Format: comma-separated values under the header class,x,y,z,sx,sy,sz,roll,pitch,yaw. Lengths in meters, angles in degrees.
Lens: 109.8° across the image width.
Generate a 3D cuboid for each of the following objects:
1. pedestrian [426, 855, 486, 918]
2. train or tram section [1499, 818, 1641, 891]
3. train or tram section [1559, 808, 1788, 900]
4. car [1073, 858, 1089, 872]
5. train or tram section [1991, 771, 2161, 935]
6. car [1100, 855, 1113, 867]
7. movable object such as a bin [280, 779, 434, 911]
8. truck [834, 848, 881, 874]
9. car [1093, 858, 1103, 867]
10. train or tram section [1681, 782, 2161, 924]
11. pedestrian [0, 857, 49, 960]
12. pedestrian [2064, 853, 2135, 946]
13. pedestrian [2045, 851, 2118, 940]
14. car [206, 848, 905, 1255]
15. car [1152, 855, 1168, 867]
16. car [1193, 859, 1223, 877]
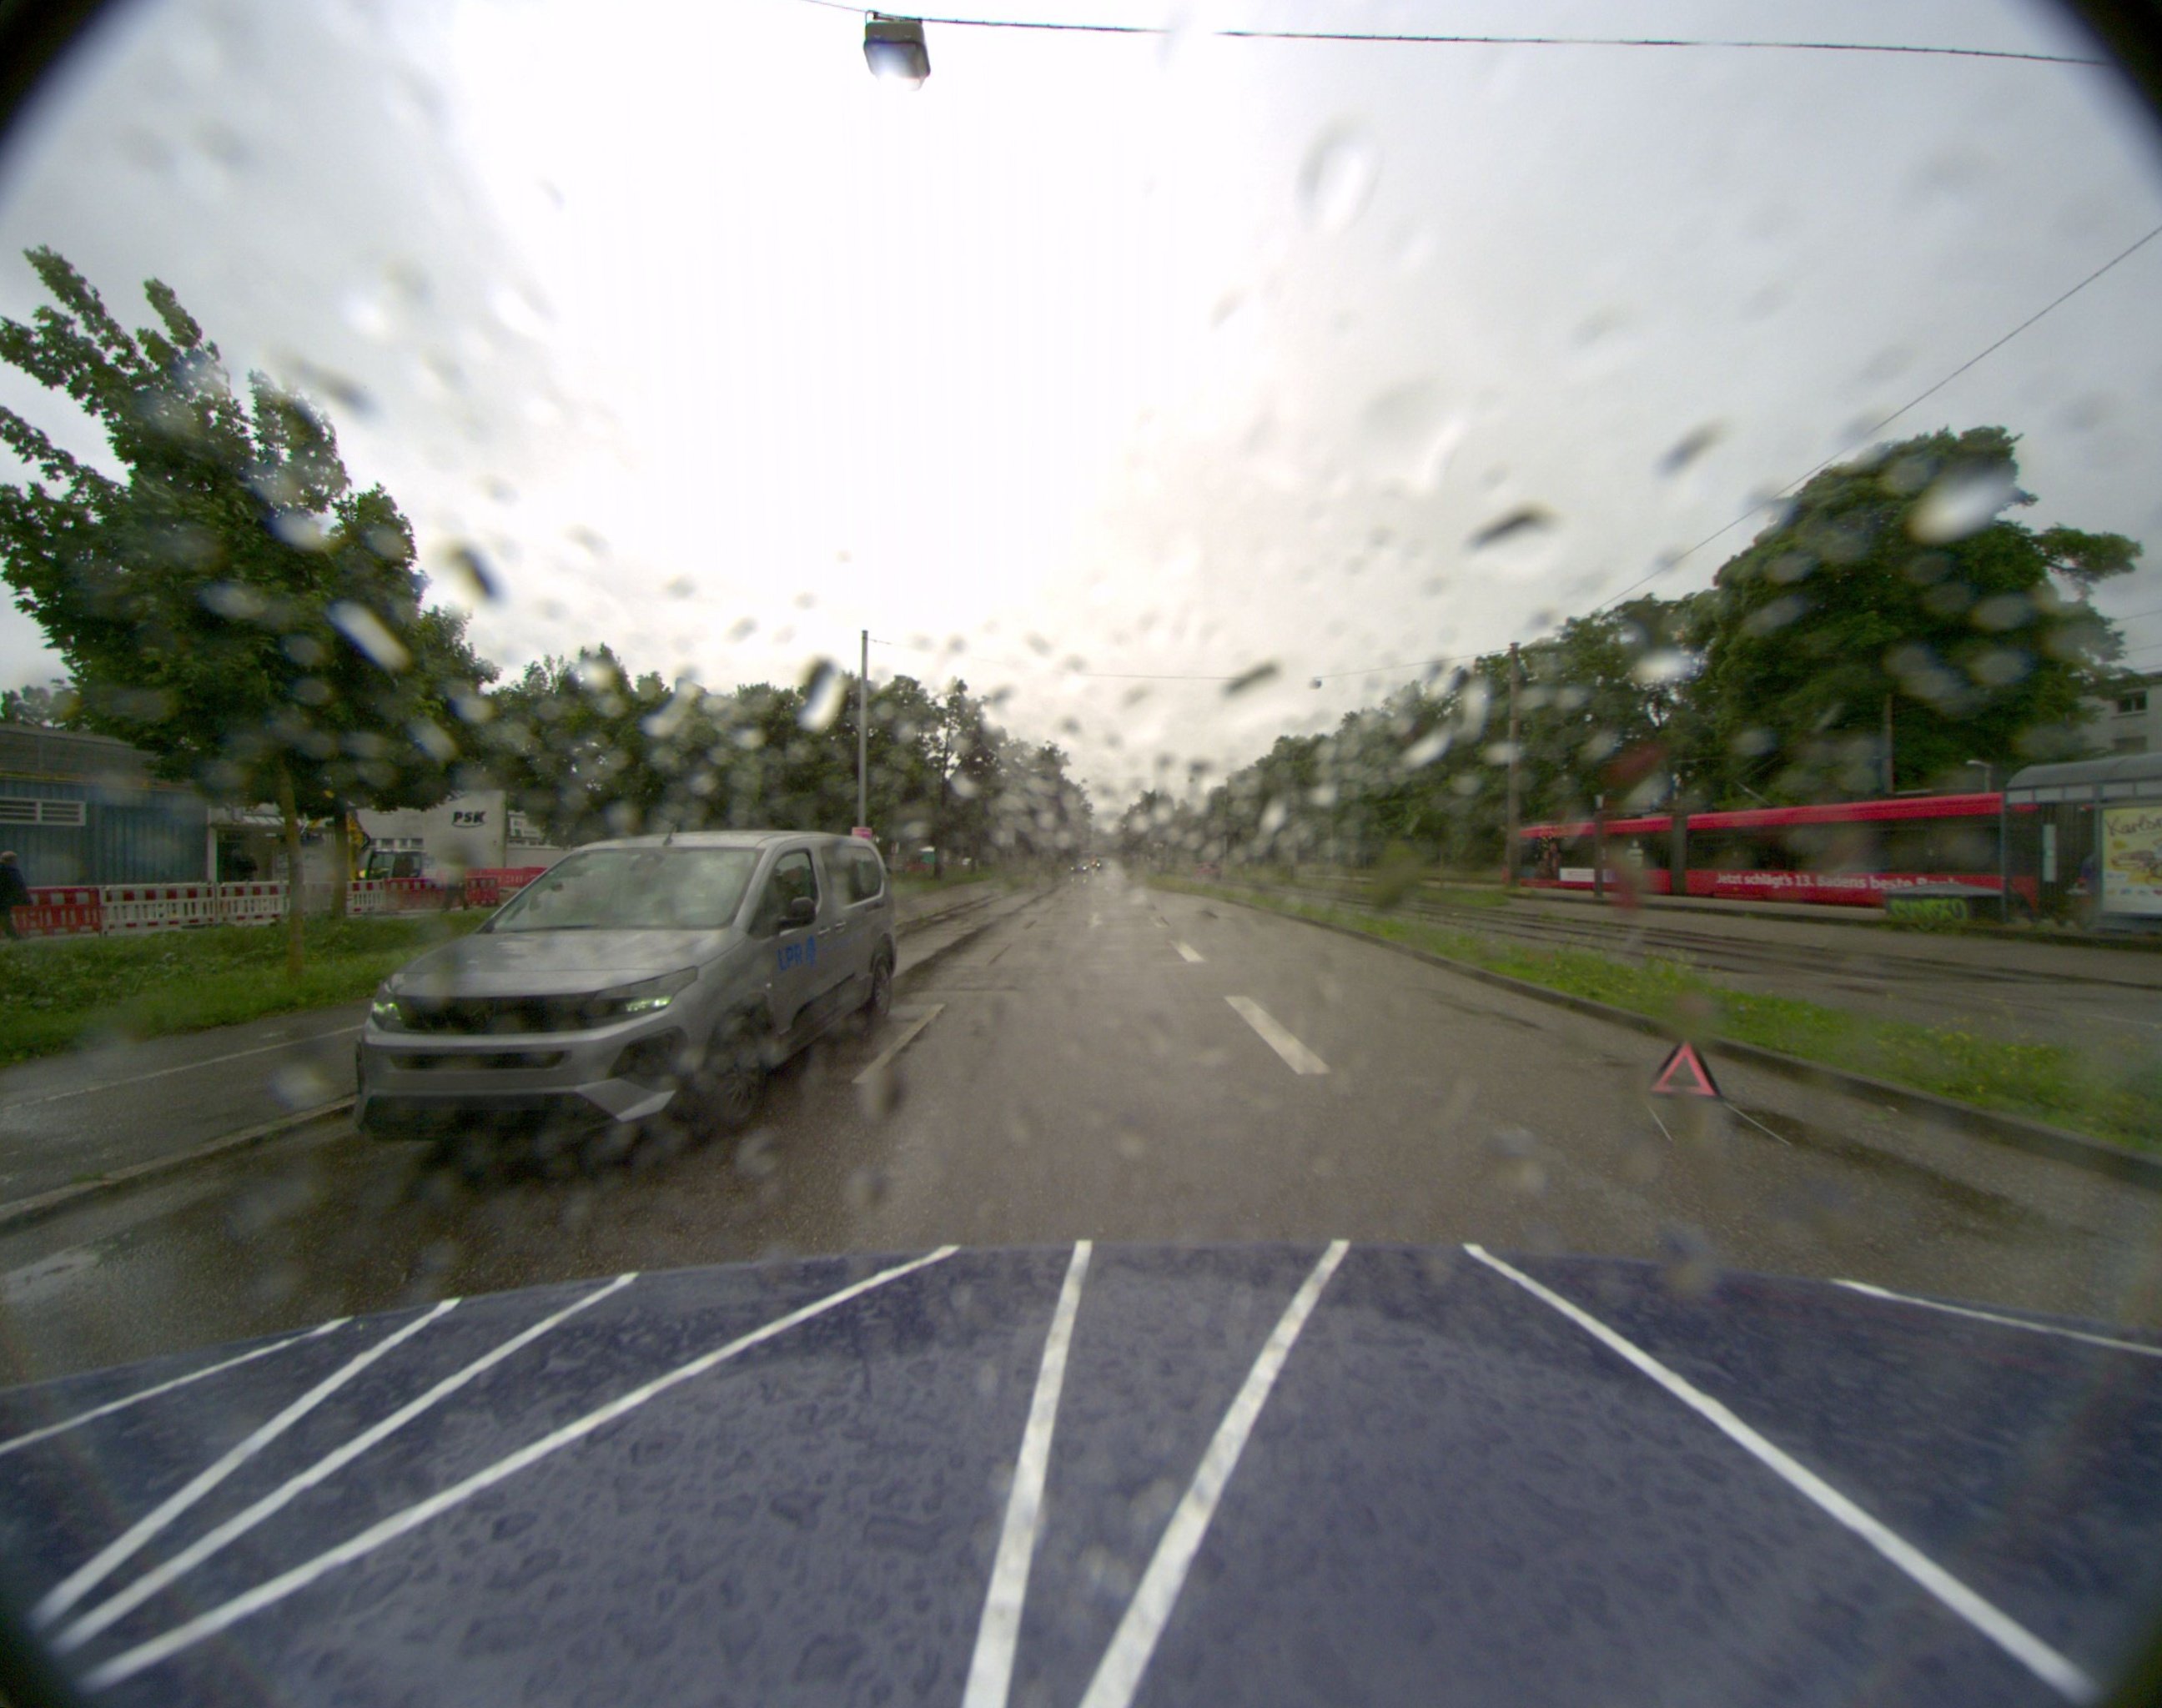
class,x,y,z,sx,sy,sz,roll,pitch,yaw
pedestrian,-19.958,1.013,24.279,0.814,1.924,1.212,-2,1,0
train or tram section,24.433,0.019,38.406,3.541,3.398,5.770,0,0,1
train or tram section,24.300,0.007,31.923,3.541,3.392,7.903,0,0,1
car,-0.020,1.315,91.572,1.858,1.583,3.999,-2,1,0
train or tram section,23.947,-0.023,13.909,3.541,3.370,9.278,0,0,1
car,3.745,1.058,112.701,1.812,1.683,3.776,-2,1,0
movable object such as a bin,-26.115,-0.318,27.618,1.557,4.400,3.909,-2,1,2
truck,-26.298,0.730,89.876,2.811,2.882,8.749,-2,1,0
car,3.478,1.652,151.692,1.898,1.601,4.000,-2,1,1
train or tram section,24.123,-0.016,23.270,3.541,3.381,10.261,0,0,1
pedestrian,-20.229,1.017,14.202,0.580,1.885,0.876,-2,1,0
pedestrian,17.469,0.768,13.045,0.444,1.553,0.602,-2,1,15
pedestrian,17.905,0.735,13.607,0.522,1.553,0.602,-2,1,15
car,-2.889,0.883,5.704,1.998,1.785,4.562,-2,0,0
car,10.171,0.900,97.843,1.741,1.428,3.820,-1,1,1
car,10.413,1.133,62.585,1.685,1.353,4.251,2,0,-1
